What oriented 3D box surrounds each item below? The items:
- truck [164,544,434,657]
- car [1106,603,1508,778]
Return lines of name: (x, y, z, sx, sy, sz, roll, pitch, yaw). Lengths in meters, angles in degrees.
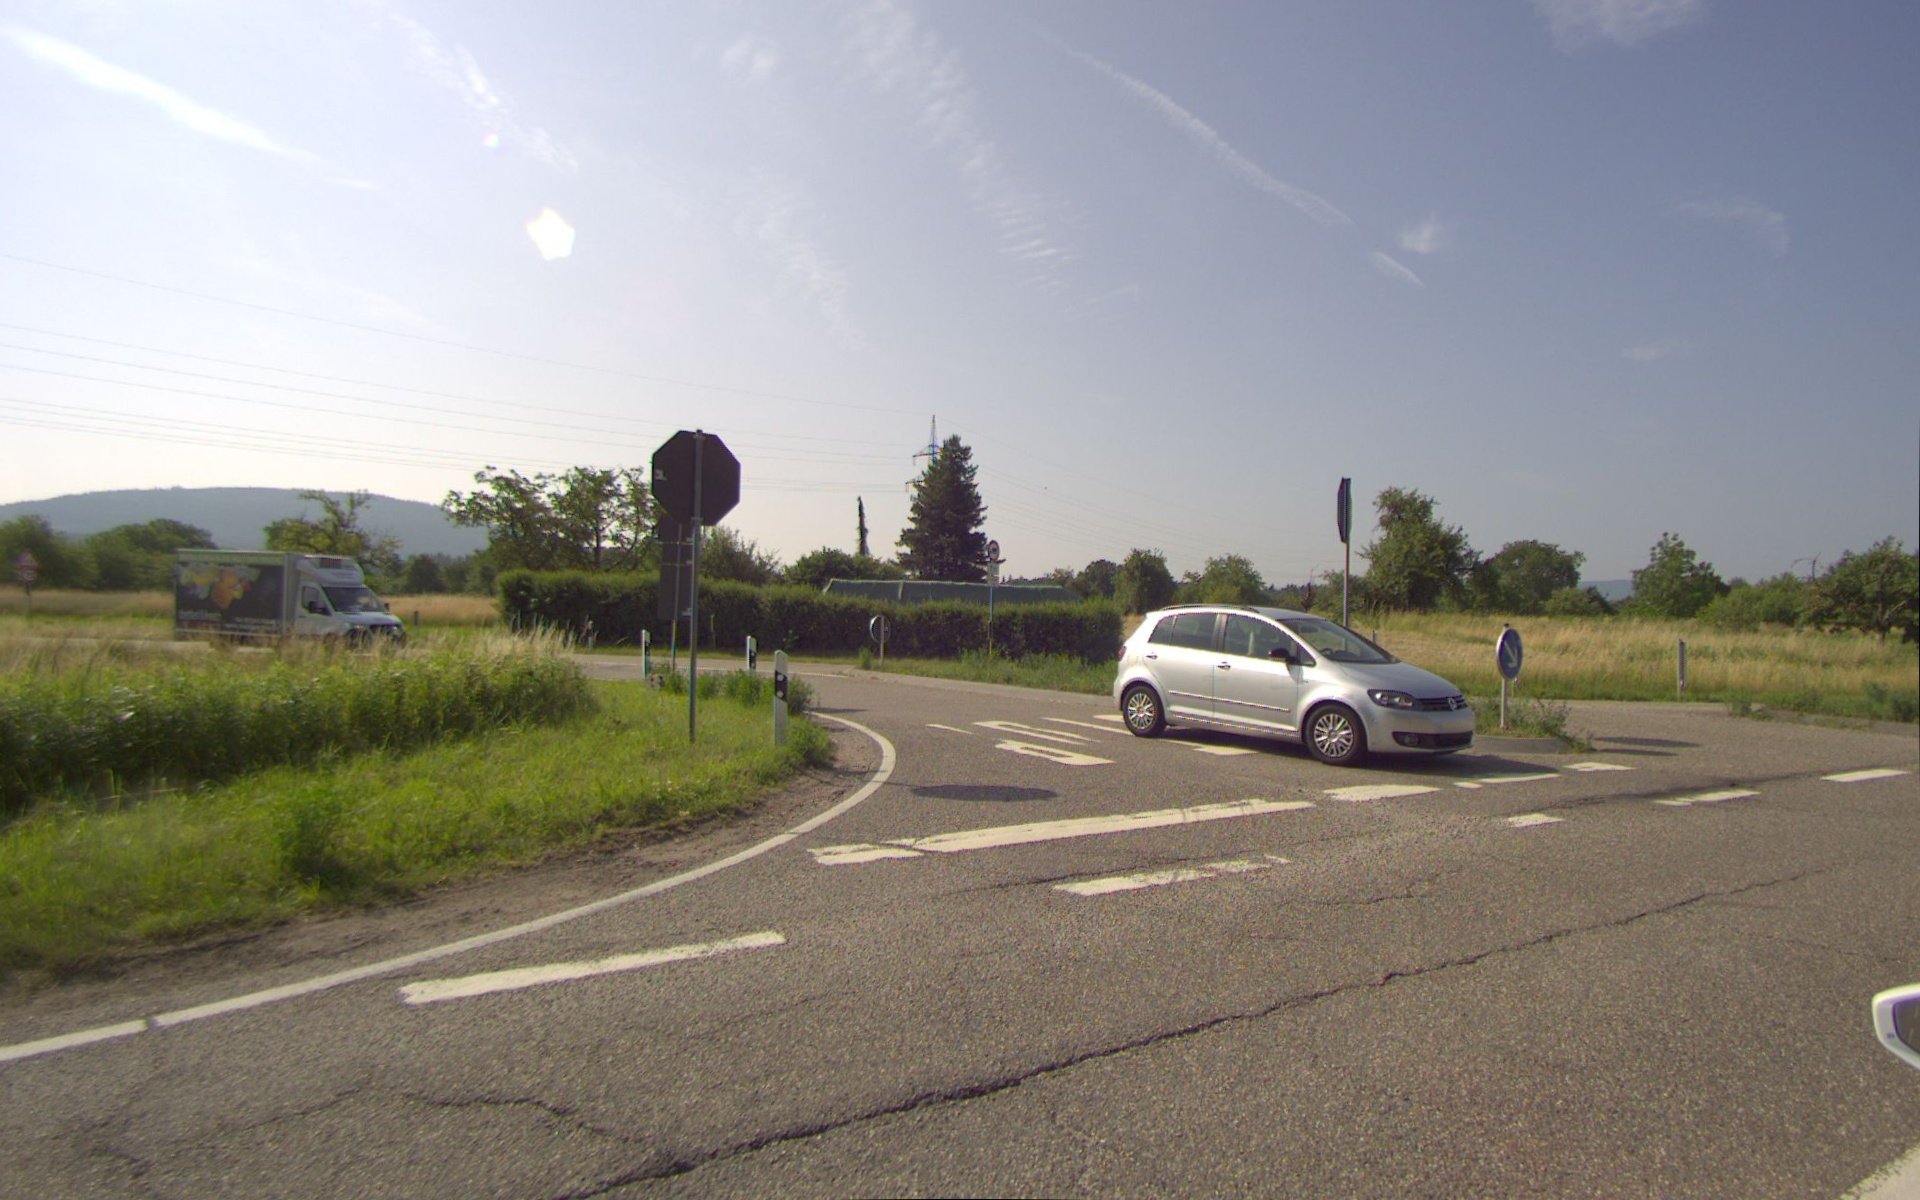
truck: (-19.615, -0.028, 29.874, 7.217, 3.086, 2.585, 1, 0, 16)
car: (3.750, 0.859, 11.374, 1.982, 1.601, 3.867, 1, -1, -38)
